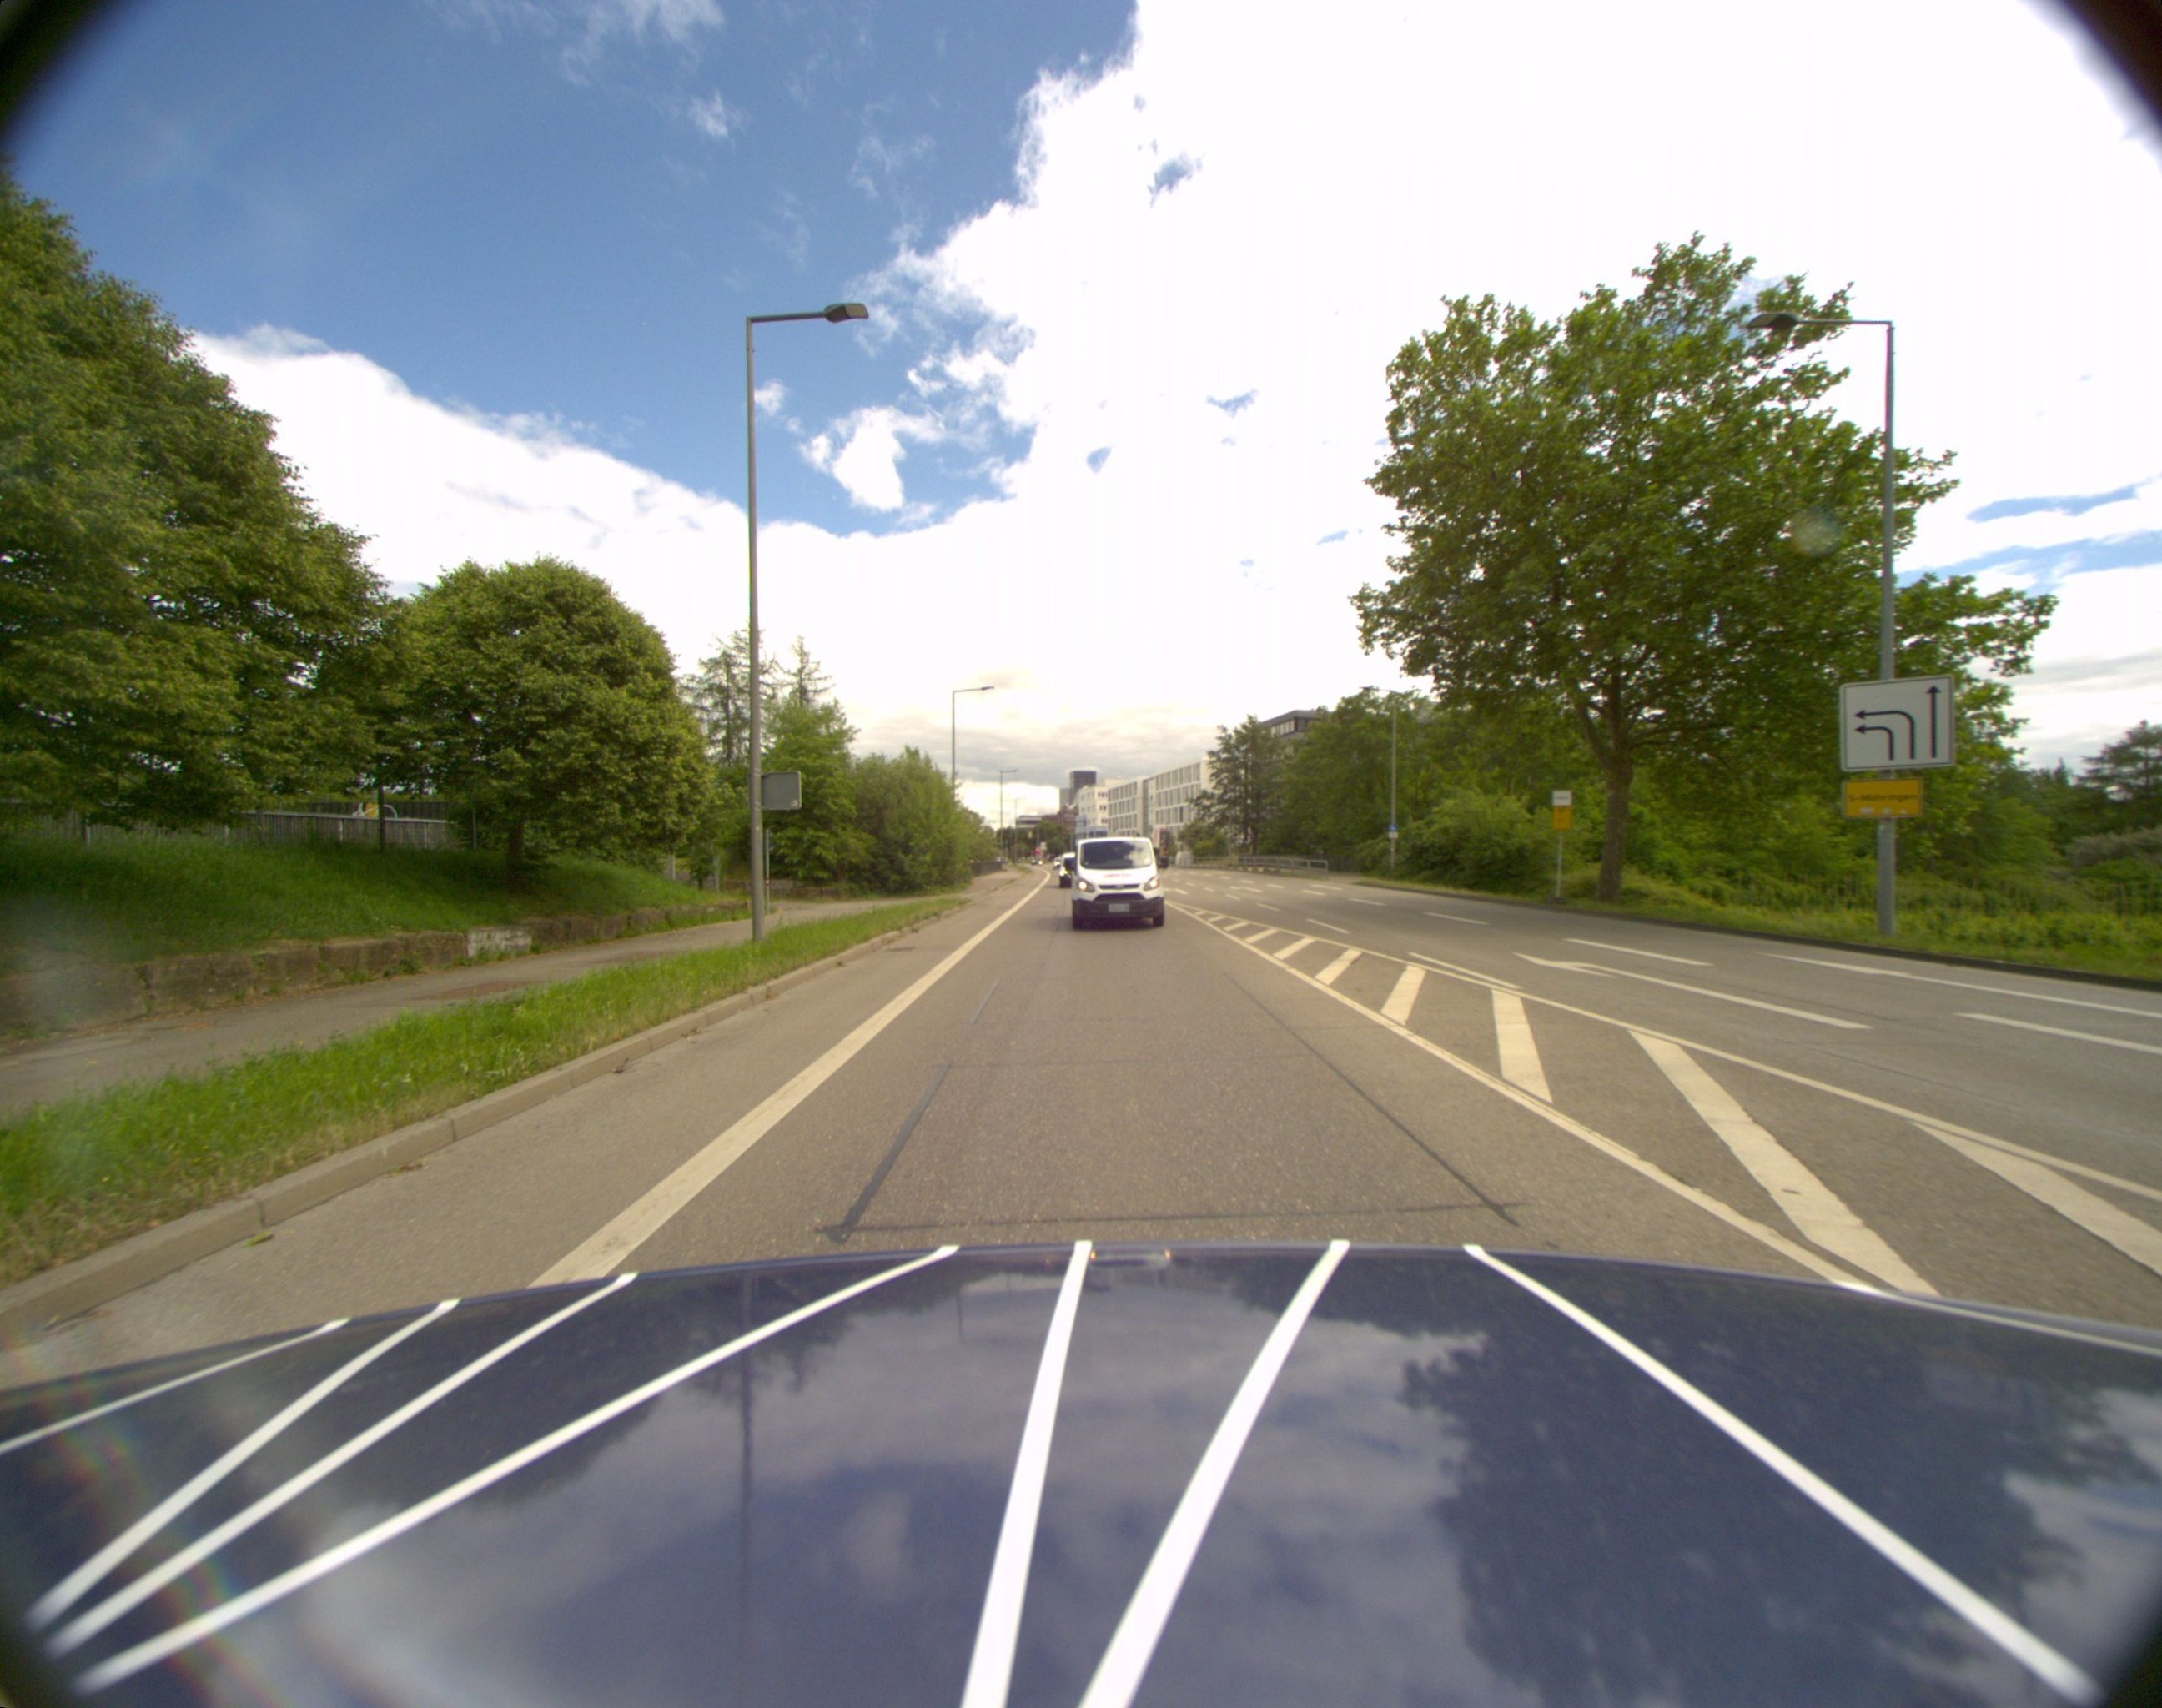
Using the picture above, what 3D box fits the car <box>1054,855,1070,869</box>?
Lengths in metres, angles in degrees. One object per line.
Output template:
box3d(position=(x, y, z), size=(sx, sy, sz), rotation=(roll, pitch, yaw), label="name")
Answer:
box3d(position=(-2.448, 0.985, 96.235), size=(1.873, 1.685, 4.370), rotation=(-1, 0, -4), label="car")

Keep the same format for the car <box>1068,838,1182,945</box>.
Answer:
box3d(position=(0.815, 0.709, 17.530), size=(2.122, 1.963, 6.206), rotation=(-1, 0, 0), label="car")

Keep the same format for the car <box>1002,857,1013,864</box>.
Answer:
box3d(position=(-17.182, 1.499, 177.524), size=(1.737, 1.432, 4.363), rotation=(-2, 0, -15), label="car")

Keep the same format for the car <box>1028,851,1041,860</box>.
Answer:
box3d(position=(-8.912, 0.339, 144.863), size=(1.874, 1.685, 4.367), rotation=(-1, 0, -10), label="car")

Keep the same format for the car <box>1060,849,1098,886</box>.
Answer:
box3d(position=(-0.124, 0.696, 40.566), size=(1.872, 1.836, 4.371), rotation=(-1, 0, -1), label="car")
